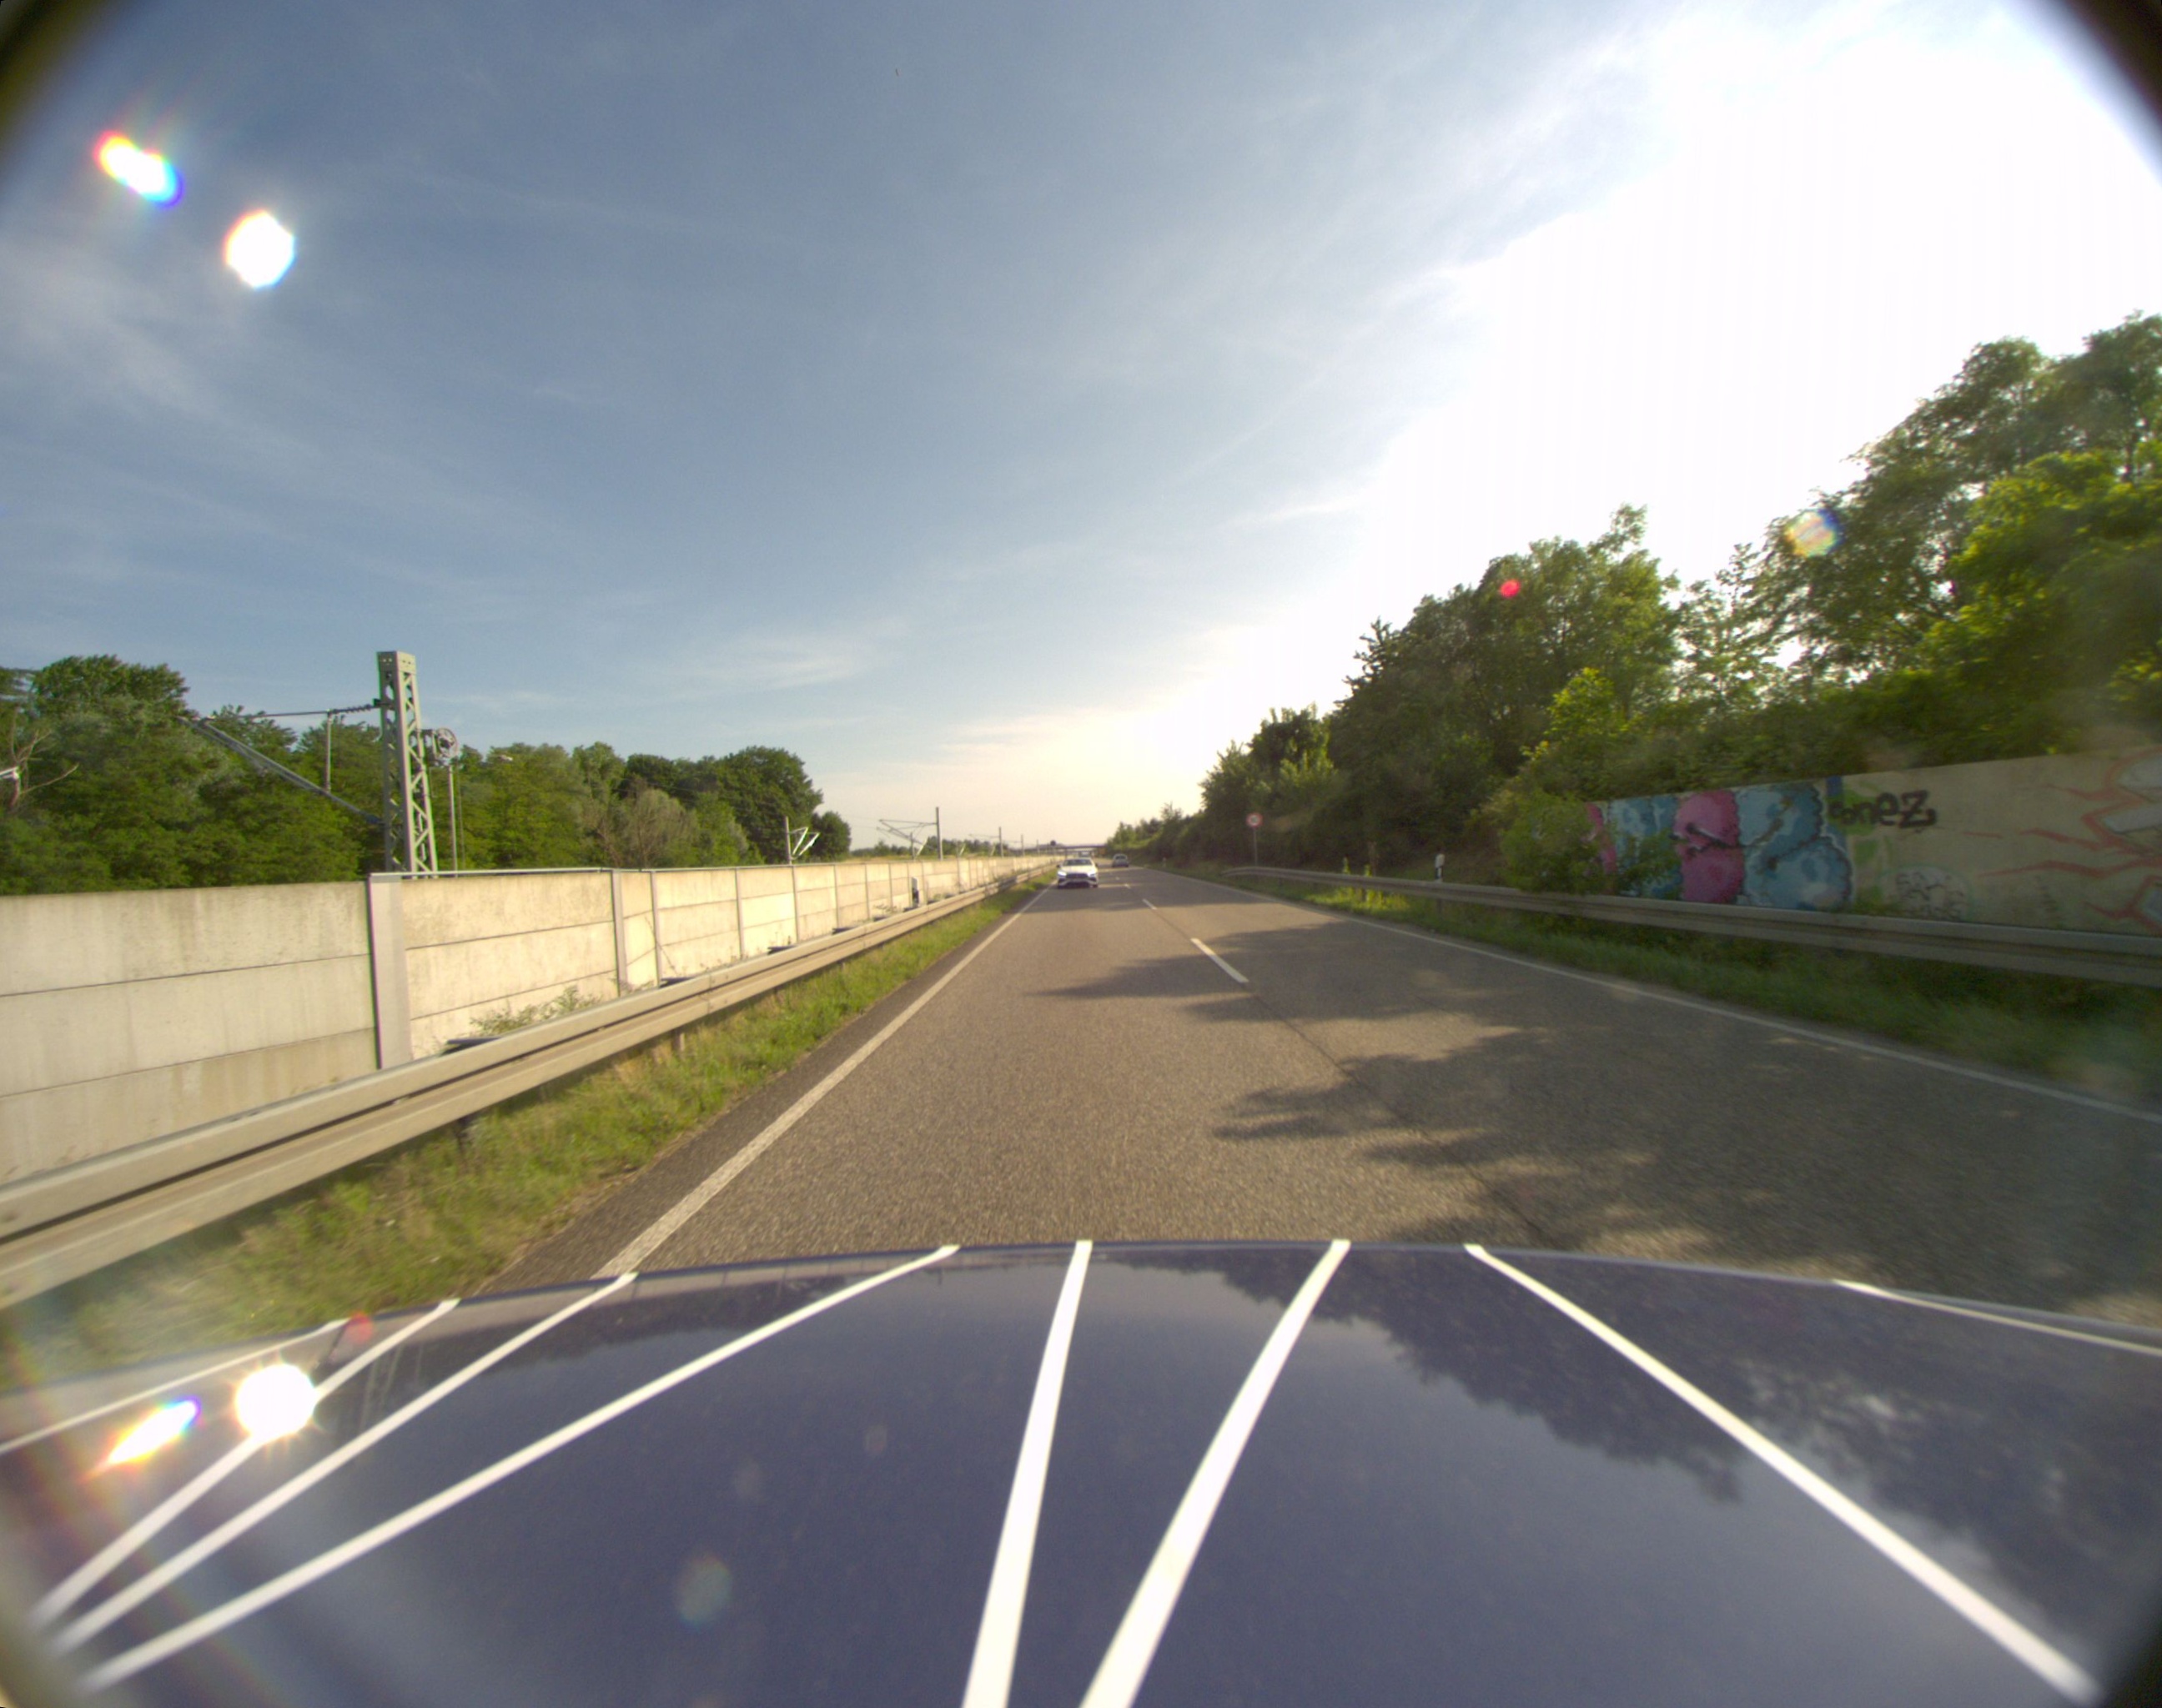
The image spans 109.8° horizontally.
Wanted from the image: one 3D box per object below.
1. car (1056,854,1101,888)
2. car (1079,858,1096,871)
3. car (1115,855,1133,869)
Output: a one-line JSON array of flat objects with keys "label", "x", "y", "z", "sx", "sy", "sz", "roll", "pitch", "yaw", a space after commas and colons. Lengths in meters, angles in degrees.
[{"label": "car", "x": -0.084, "y": 0.761, "z": 36.531, "sx": 1.953, "sy": 1.430, "sz": 4.611, "roll": -3, "pitch": 0, "yaw": 1}, {"label": "car", "x": 0.777, "y": 1.274, "z": 94.054, "sx": 1.953, "sy": 1.430, "sz": 4.611, "roll": -4, "pitch": 0, "yaw": 1}, {"label": "car", "x": 4.712, "y": 0.868, "z": 83.542, "sx": 1.724, "sy": 1.386, "sz": 4.360, "roll": -3, "pitch": 1, "yaw": 1}]
